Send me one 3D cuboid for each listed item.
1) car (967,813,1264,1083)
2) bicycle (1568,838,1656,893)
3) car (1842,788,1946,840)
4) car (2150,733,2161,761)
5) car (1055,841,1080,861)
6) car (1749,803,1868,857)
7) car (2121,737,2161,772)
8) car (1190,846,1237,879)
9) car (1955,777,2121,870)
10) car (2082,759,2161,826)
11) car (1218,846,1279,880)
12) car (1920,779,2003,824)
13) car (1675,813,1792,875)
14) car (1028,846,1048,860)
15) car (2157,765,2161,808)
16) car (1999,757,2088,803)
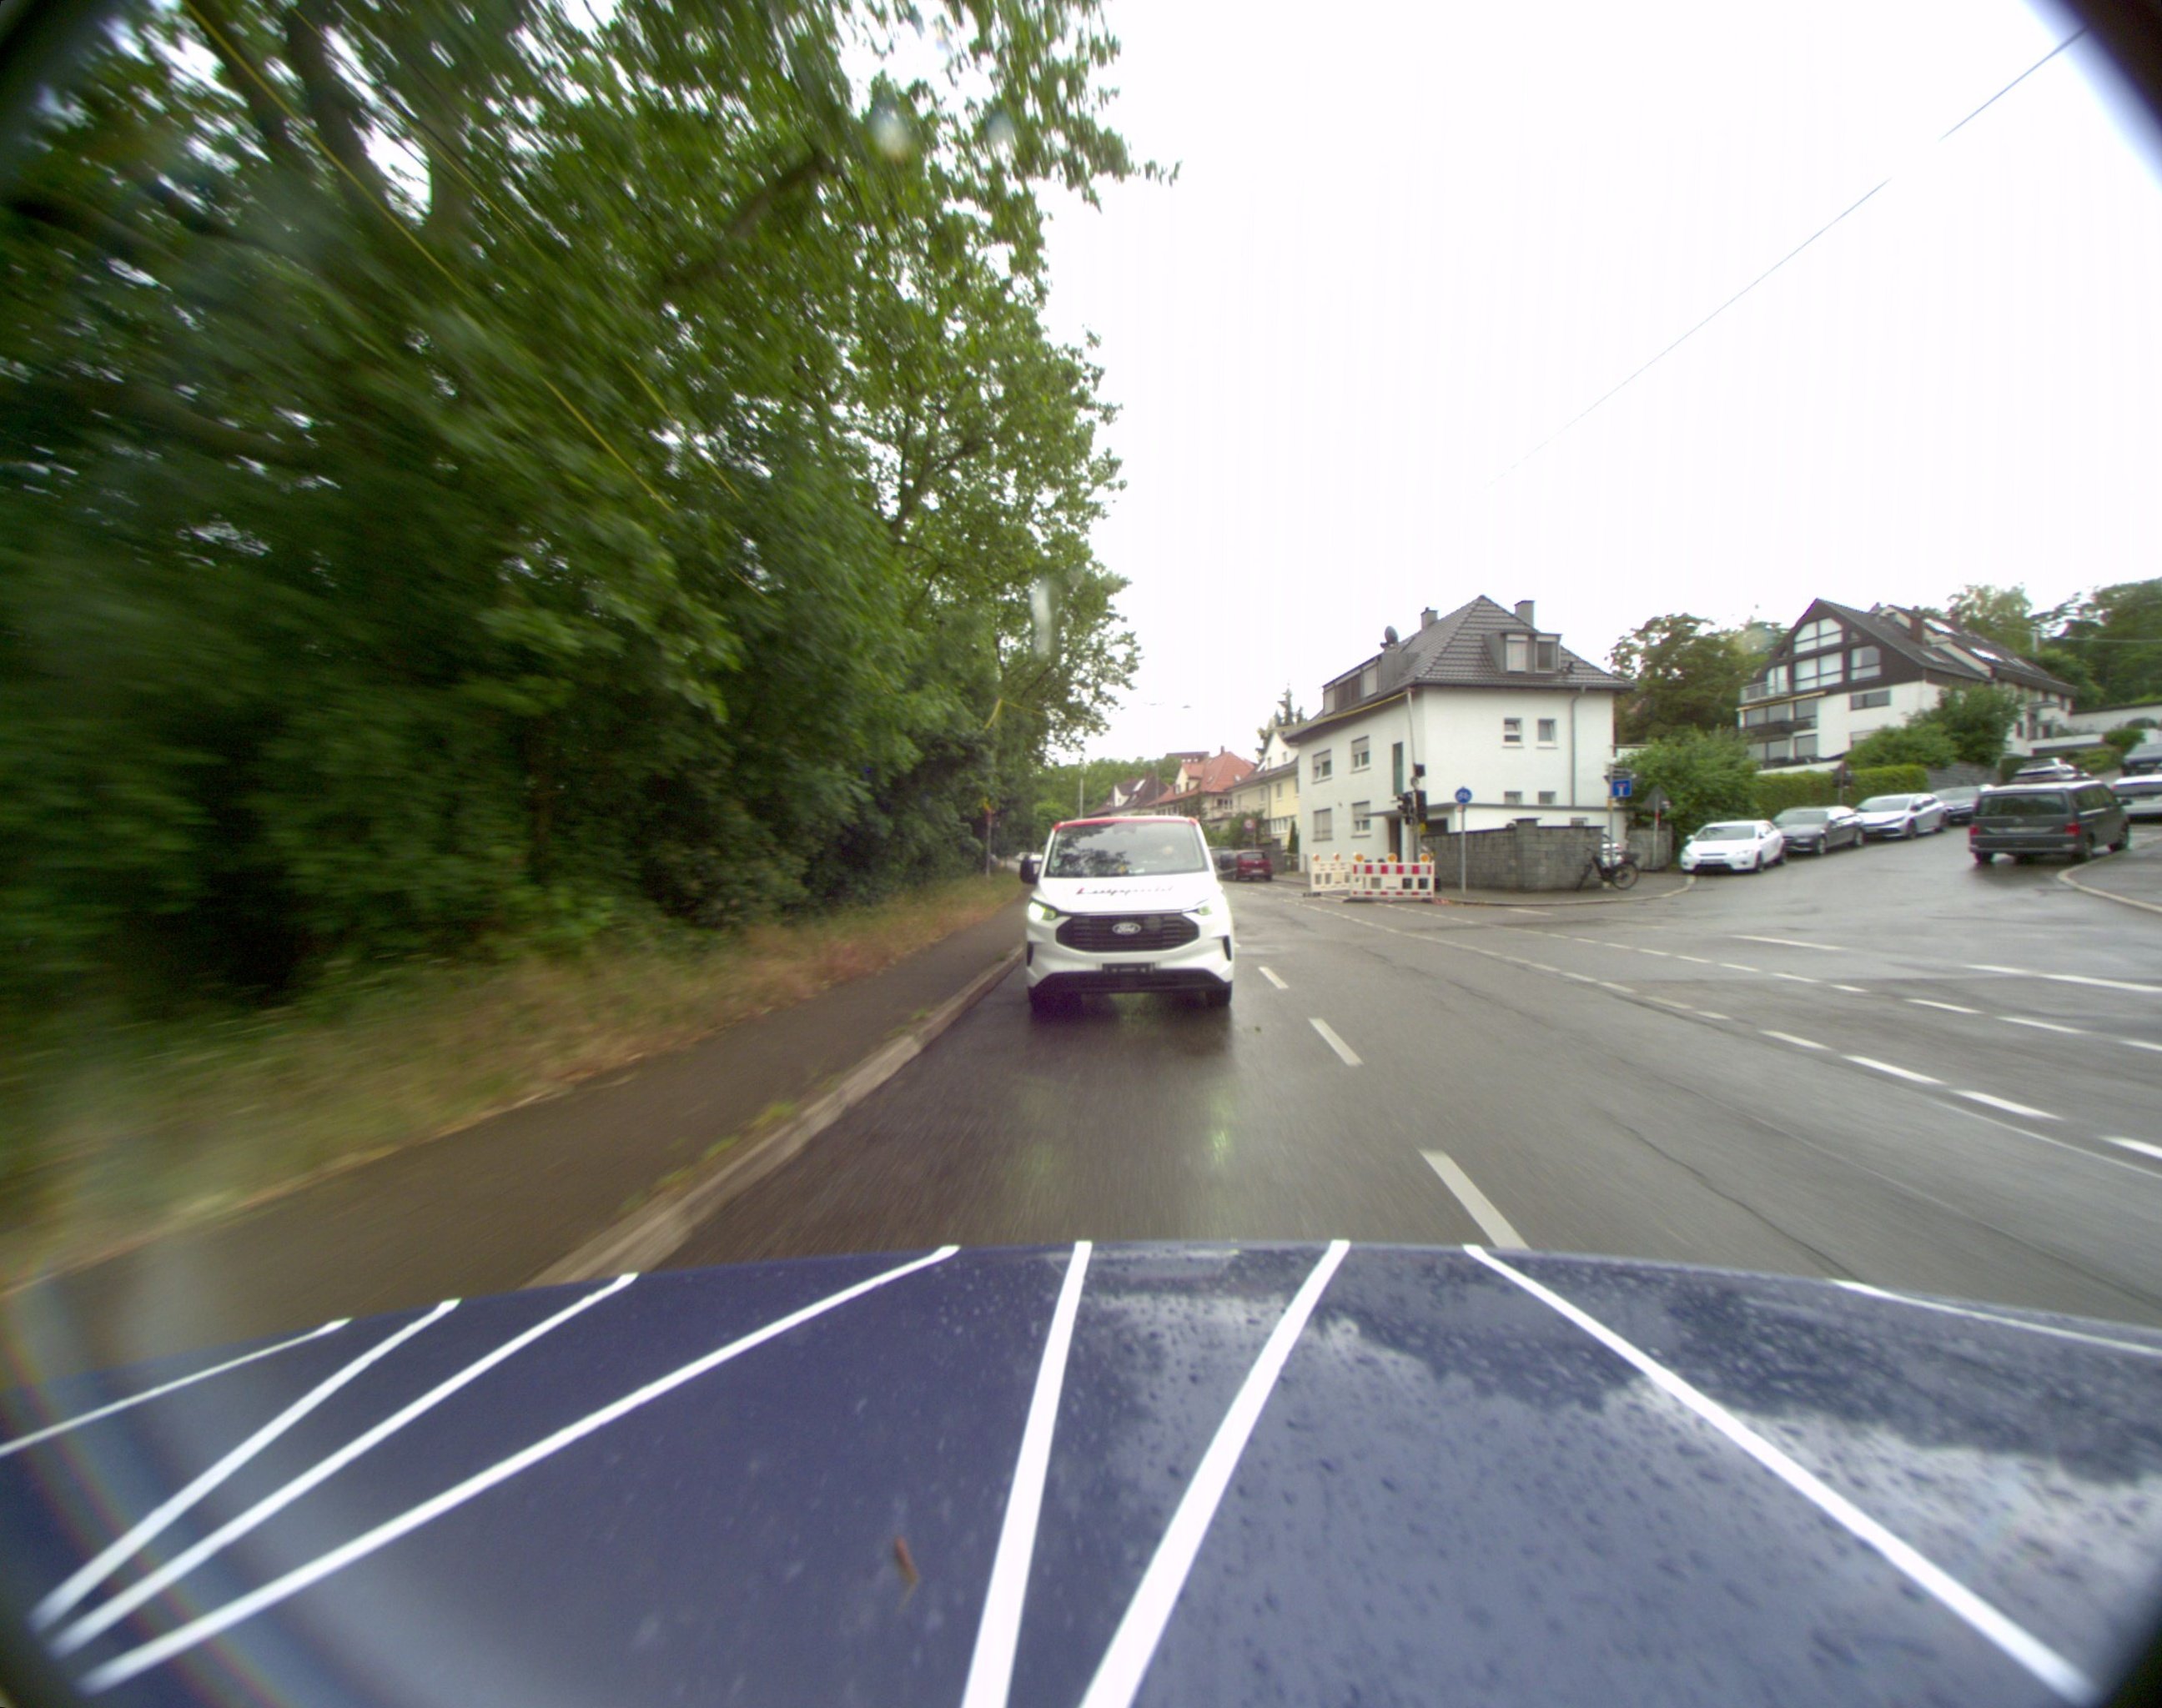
[{"bbox_3d":[0.517,0.640,8.013,2.044,1.883,5.210,-2,1,6],"label":"car"},{"bbox_3d":[13.497,0.292,19.341,1.731,1.304,0.707,-2,1,-1],"label":"bicycle"},{"bbox_3d":[29.818,-1.481,27.858,3.858,1.458,1.579,-8,3,-27],"label":"car"},{"bbox_3d":[65.451,-6.555,44.897,3.833,1.492,1.734,-9,3,-21],"label":"car"},{"bbox_3d":[-1.535,-0.311,82.816,2.000,2.002,3.995,-3,1,-11],"label":"car"},{"bbox_3d":[24.850,-0.822,25.955,3.858,1.458,1.701,-7,2,-27],"label":"car"},{"bbox_3d":[59.167,-5.535,41.536,3.833,1.492,1.734,-9,3,-21],"label":"car"},{"bbox_3d":[7.100,0.489,41.053,1.670,1.579,4.005,-3,-1,-2],"label":"car"},{"bbox_3d":[25.564,-0.810,20.297,3.800,1.926,1.911,-9,3,-26],"label":"car"},{"bbox_3d":[35.248,-2.086,25.118,3.415,1.827,1.918,-9,3,-26],"label":"car"},{"bbox_3d":[7.846,0.451,35.913,1.897,1.485,3.797,-1,-1,-2],"label":"car"},{"bbox_3d":[35.010,-2.108,30.197,3.507,1.383,1.333,-8,4,-27],"label":"car"},{"bbox_3d":[19.759,-0.309,22.976,3.565,1.458,1.746,-7,2,-34],"label":"car"},{"bbox_3d":[-5.798,-0.157,101.764,2.000,1.850,4.355,-3,1,-11],"label":"car"},{"bbox_3d":[40.325,-2.627,27.127,3.564,1.461,1.580,-9,3,-25],"label":"car"},{"bbox_3d":[43.931,-3.392,34.667,3.987,1.547,1.334,-9,3,-21],"label":"car"}]
